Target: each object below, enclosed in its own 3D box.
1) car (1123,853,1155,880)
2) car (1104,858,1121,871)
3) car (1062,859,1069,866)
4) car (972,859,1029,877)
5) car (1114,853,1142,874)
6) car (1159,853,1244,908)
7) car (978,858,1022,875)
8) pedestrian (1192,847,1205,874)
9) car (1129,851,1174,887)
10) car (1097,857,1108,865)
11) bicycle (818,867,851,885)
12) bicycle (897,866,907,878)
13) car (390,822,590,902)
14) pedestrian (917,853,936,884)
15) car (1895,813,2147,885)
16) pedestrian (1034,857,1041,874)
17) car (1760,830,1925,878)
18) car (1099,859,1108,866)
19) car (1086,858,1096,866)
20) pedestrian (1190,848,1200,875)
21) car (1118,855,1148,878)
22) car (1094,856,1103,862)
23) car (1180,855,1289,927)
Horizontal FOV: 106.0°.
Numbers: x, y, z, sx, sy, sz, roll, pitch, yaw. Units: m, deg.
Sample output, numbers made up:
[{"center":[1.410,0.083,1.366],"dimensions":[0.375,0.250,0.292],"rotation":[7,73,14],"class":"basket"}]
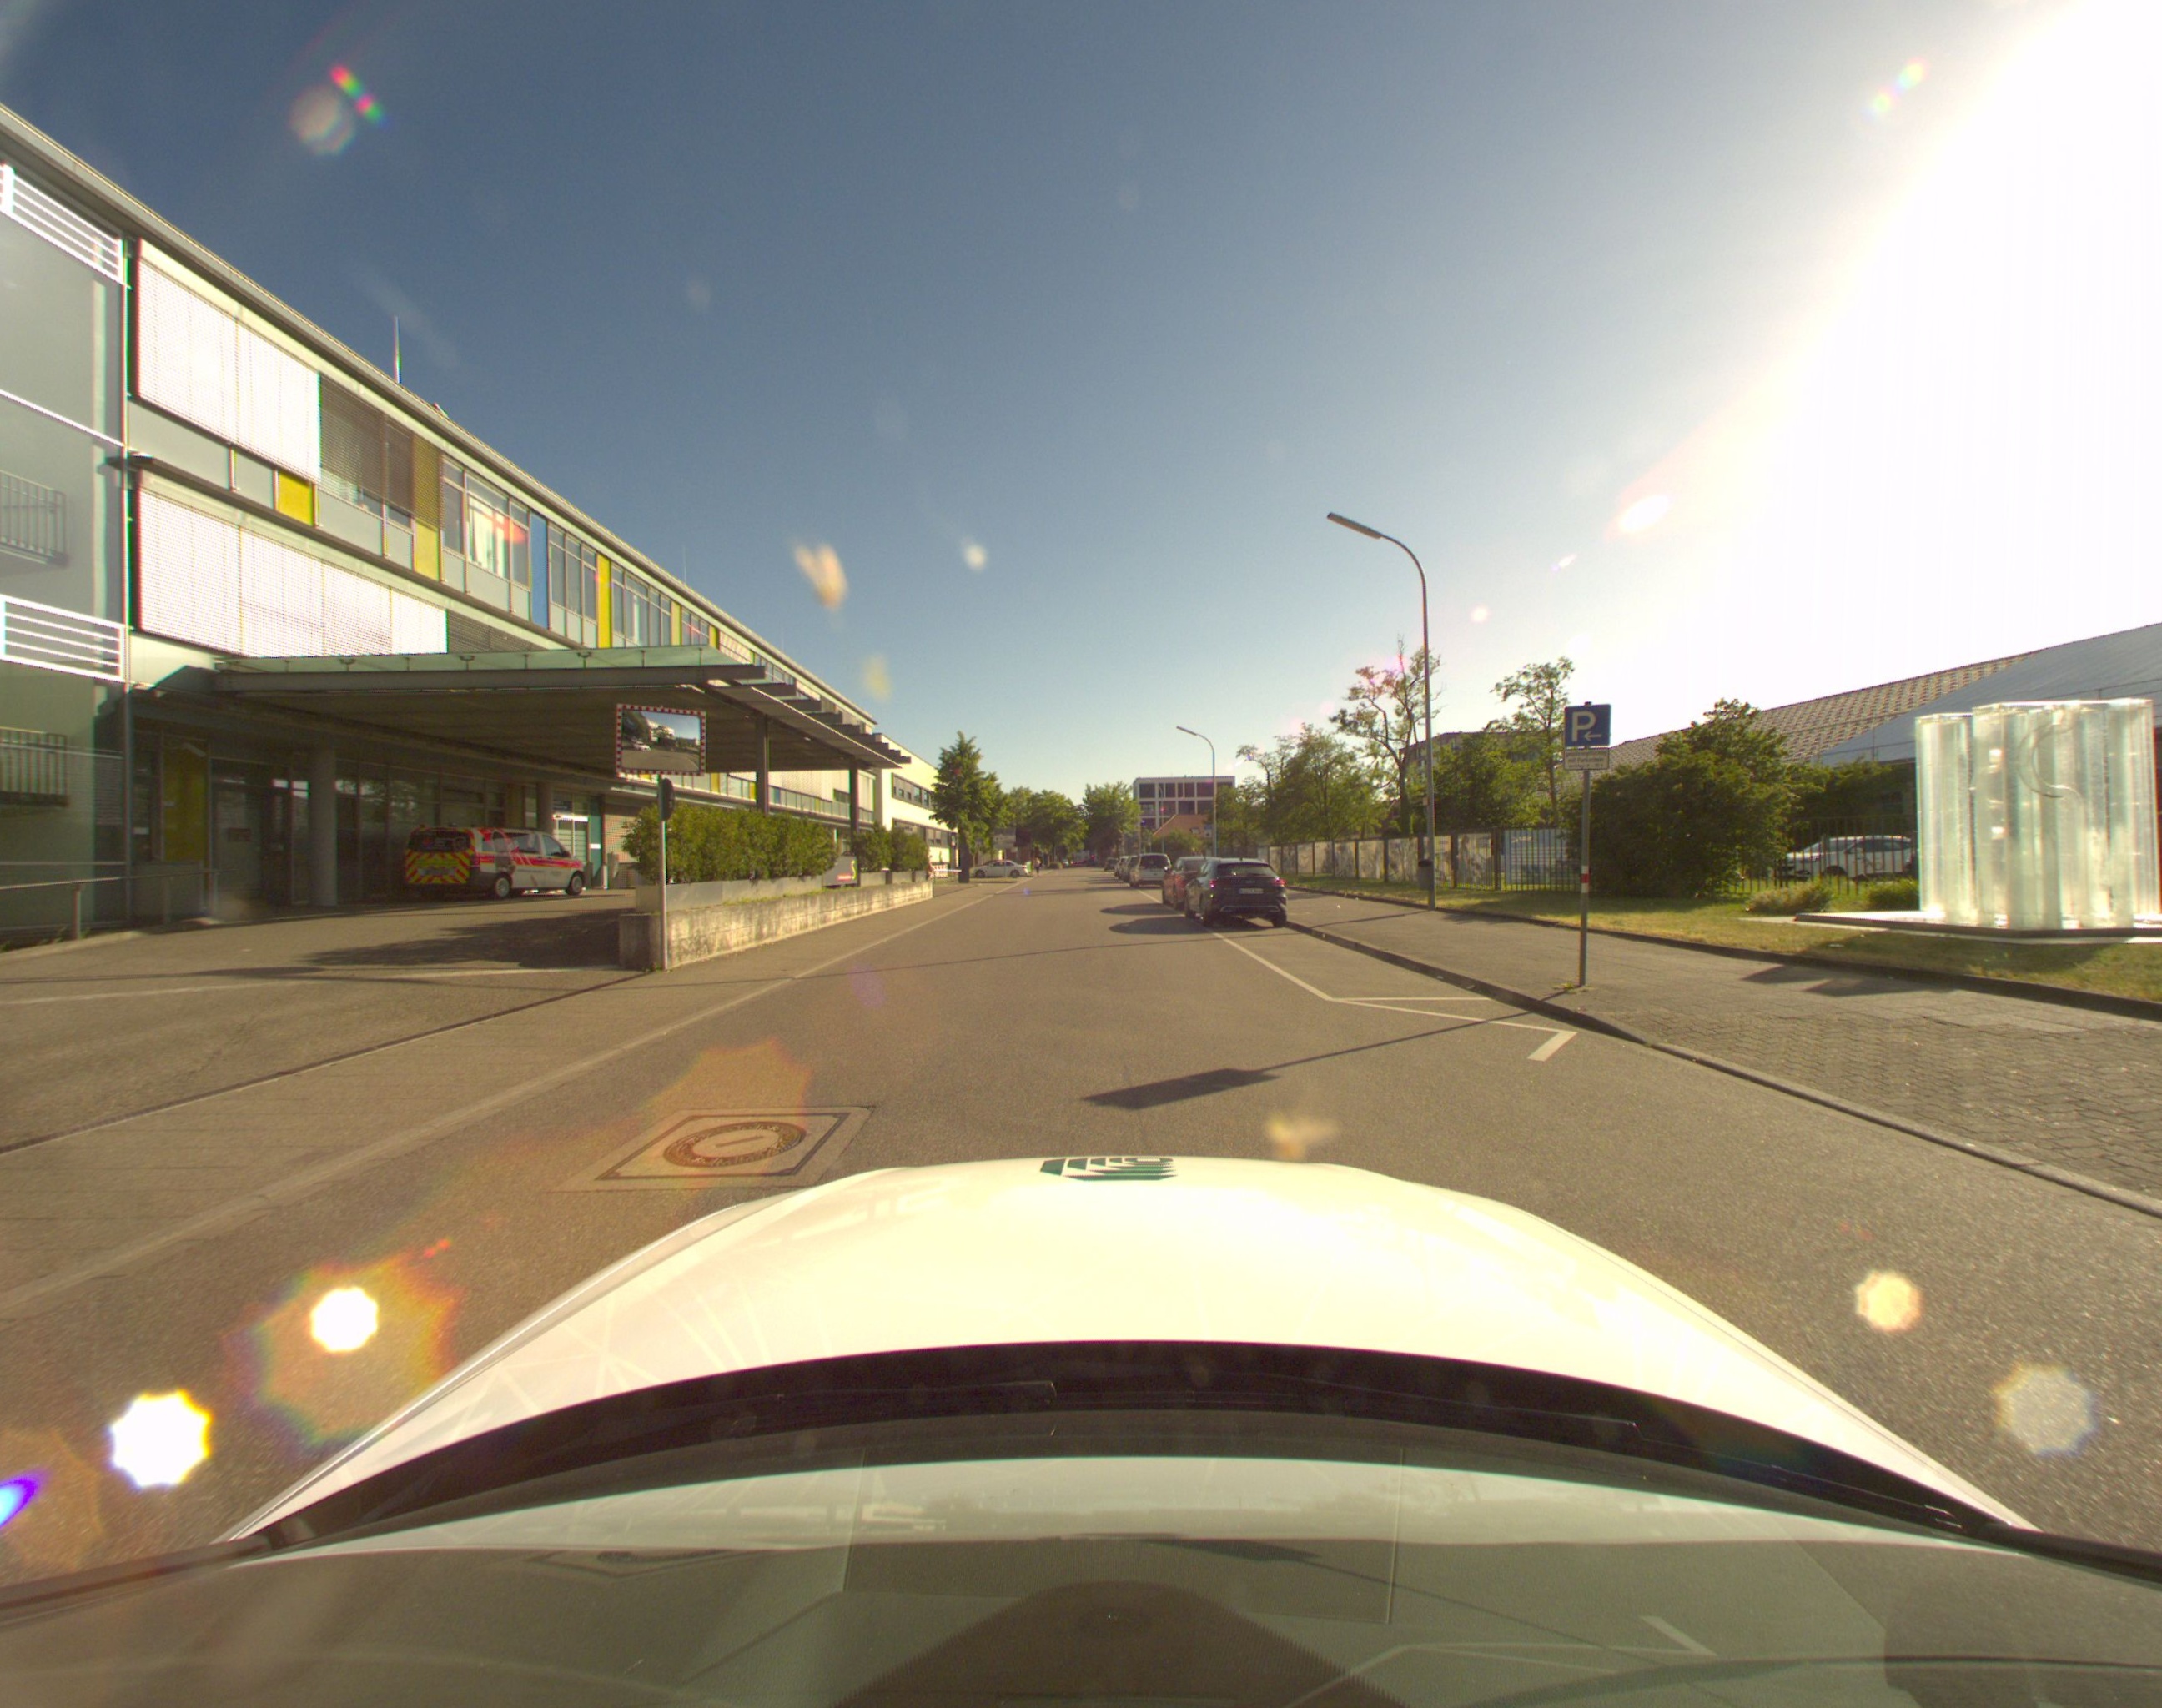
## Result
[{"center":[3.544,0.740,50.456],"dimensions":[1.695,1.606,4.352],"rotation":[0,0,0],"class":"car"},{"center":[3.550,1.156,91.806],"dimensions":[1.811,1.453,4.215],"rotation":[-2,0,1],"class":"car"},{"center":[-3.651,2.070,192.691],"dimensions":[1.762,1.487,3.998],"rotation":[-1,-1,-1],"class":"car"},{"center":[-6.532,1.161,66.427],"dimensions":[4.505,1.367,1.697],"rotation":[1,0,-5],"class":"car"},{"center":[3.673,0.761,64.031],"dimensions":[1.808,1.588,4.259],"rotation":[0,0,-2],"class":"car"},{"center":[3.553,0.737,24.801],"dimensions":[1.804,1.510,4.720],"rotation":[0,0,-1],"class":"car"},{"center":[-6.830,1.041,69.163],"dimensions":[3.626,1.469,1.612],"rotation":[0,0,-3],"class":"car"},{"center":[7.091,0.371,49.106],"dimensions":[0.679,1.611,0.540],"rotation":[1,-1,-3],"class":"pedestrian"},{"center":[3.493,0.706,41.158],"dimensions":[1.804,1.722,4.702],"rotation":[0,0,-1],"class":"car"},{"center":[3.983,1.237,152.735],"dimensions":[1.762,1.440,3.998],"rotation":[-1,-1,-1],"class":"car"},{"center":[-14.384,1.266,47.492],"dimensions":[1.710,0.994,0.536],"rotation":[-2,0,-2],"class":"bicycle"},{"center":[-13.087,1.311,59.516],"dimensions":[0.368,0.863,1.451],"rotation":[-2,0,1],"class":"bicycle"},{"center":[-15.679,0.194,21.999],"dimensions":[1.913,1.891,4.710],"rotation":[-2,0,0],"class":"car"},{"center":[-7.883,0.730,41.498],"dimensions":[0.770,1.549,0.780],"rotation":[1,-1,0],"class":"pedestrian"},{"center":[24.319,-0.141,21.178],"dimensions":[4.622,1.668,1.996],"rotation":[-1,0,-6],"class":"car"},{"center":[-3.871,0.996,72.811],"dimensions":[0.536,1.524,0.607],"rotation":[-2,0,1],"class":"pedestrian"},{"center":[24.373,0.000,26.149],"dimensions":[3.880,1.379,1.673],"rotation":[-1,0,-4],"class":"car"},{"center":[4.936,1.966,181.955],"dimensions":[1.944,1.578,3.837],"rotation":[-1,0,1],"class":"car"},{"center":[2.023,1.720,167.443],"dimensions":[1.762,1.548,4.064],"rotation":[-1,-1,-1],"class":"car"},{"center":[7.108,0.465,50.756],"dimensions":[0.520,1.708,0.521],"rotation":[1,-1,-3],"class":"pedestrian"},{"center":[3.570,0.836,56.315],"dimensions":[1.696,1.487,3.976],"rotation":[0,0,-3],"class":"car"},{"center":[4.238,1.225,197.720],"dimensions":[1.987,1.465,3.837],"rotation":[-1,0,1],"class":"car"},{"center":[3.441,0.769,19.016],"dimensions":[1.696,1.487,4.213],"rotation":[0,0,-1],"class":"car"}]
